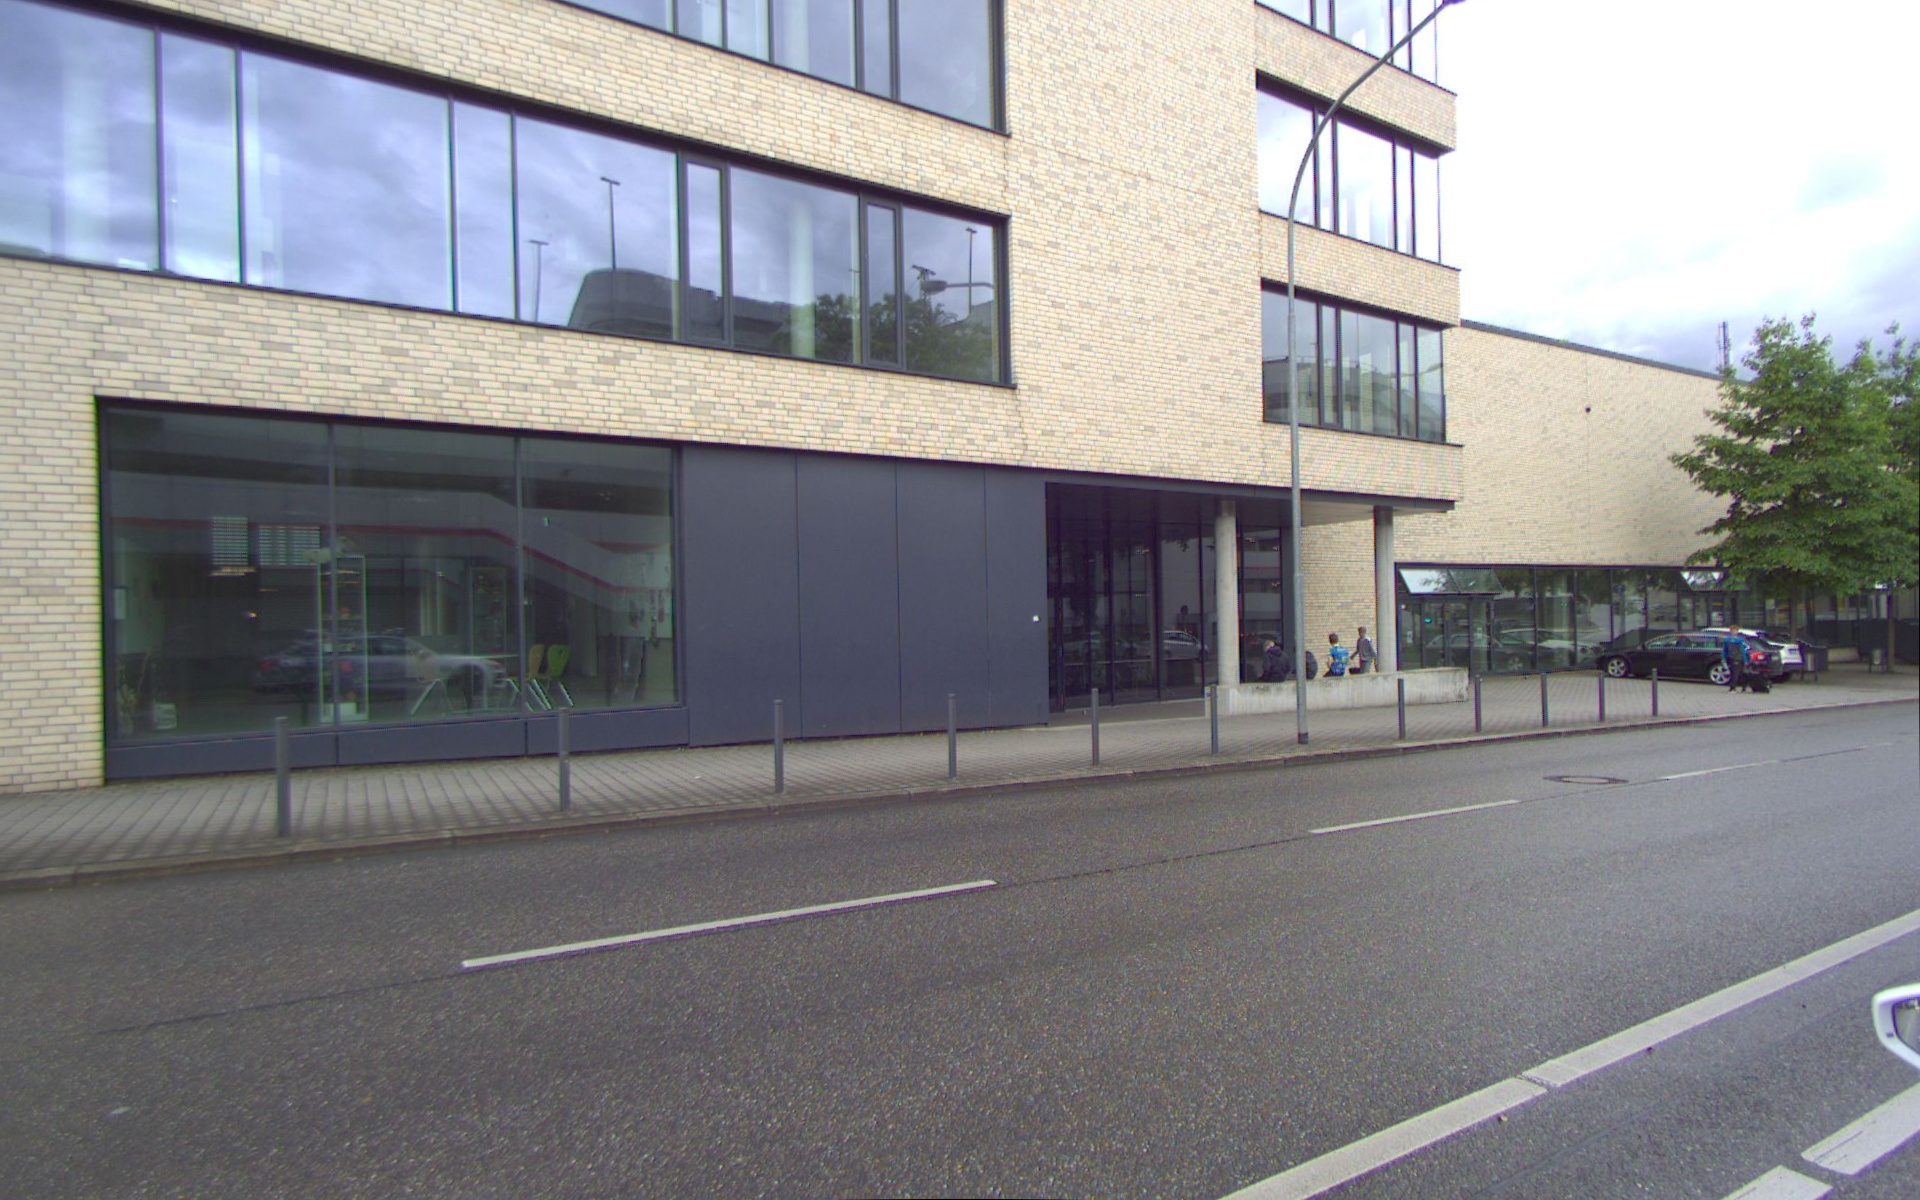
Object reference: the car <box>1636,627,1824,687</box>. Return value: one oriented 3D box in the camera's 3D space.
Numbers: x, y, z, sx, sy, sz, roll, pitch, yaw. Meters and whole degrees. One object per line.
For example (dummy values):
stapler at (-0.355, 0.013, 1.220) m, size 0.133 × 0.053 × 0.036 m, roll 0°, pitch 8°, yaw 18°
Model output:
car at (23.575, 1.704, 30.935) m, size 1.975 × 1.568 × 4.159 m, roll 2°, pitch 0°, yaw -28°

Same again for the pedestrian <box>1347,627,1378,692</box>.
pedestrian at (9.485, 1.400, 23.686) m, size 0.523 × 1.495 × 0.438 m, roll 2°, pitch 0°, yaw -35°

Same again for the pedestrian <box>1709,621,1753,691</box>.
pedestrian at (19.746, 1.426, 25.718) m, size 0.696 × 1.737 × 0.632 m, roll 2°, pitch 0°, yaw -27°

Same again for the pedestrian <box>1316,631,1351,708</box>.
pedestrian at (7.519, 1.390, 20.217) m, size 0.459 × 1.495 × 0.446 m, roll 2°, pitch 0°, yaw -35°

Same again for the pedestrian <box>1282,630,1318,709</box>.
pedestrian at (6.610, 1.340, 19.523) m, size 0.459 × 1.495 × 0.446 m, roll 2°, pitch 0°, yaw -35°

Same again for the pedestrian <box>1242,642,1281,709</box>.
pedestrian at (5.708, 1.421, 19.004) m, size 0.416 × 1.231 × 0.546 m, roll 2°, pitch 0°, yaw -27°

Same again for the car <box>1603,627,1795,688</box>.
car at (21.700, 1.641, 29.626) m, size 1.981 × 1.515 × 4.147 m, roll 2°, pitch 0°, yaw -36°
